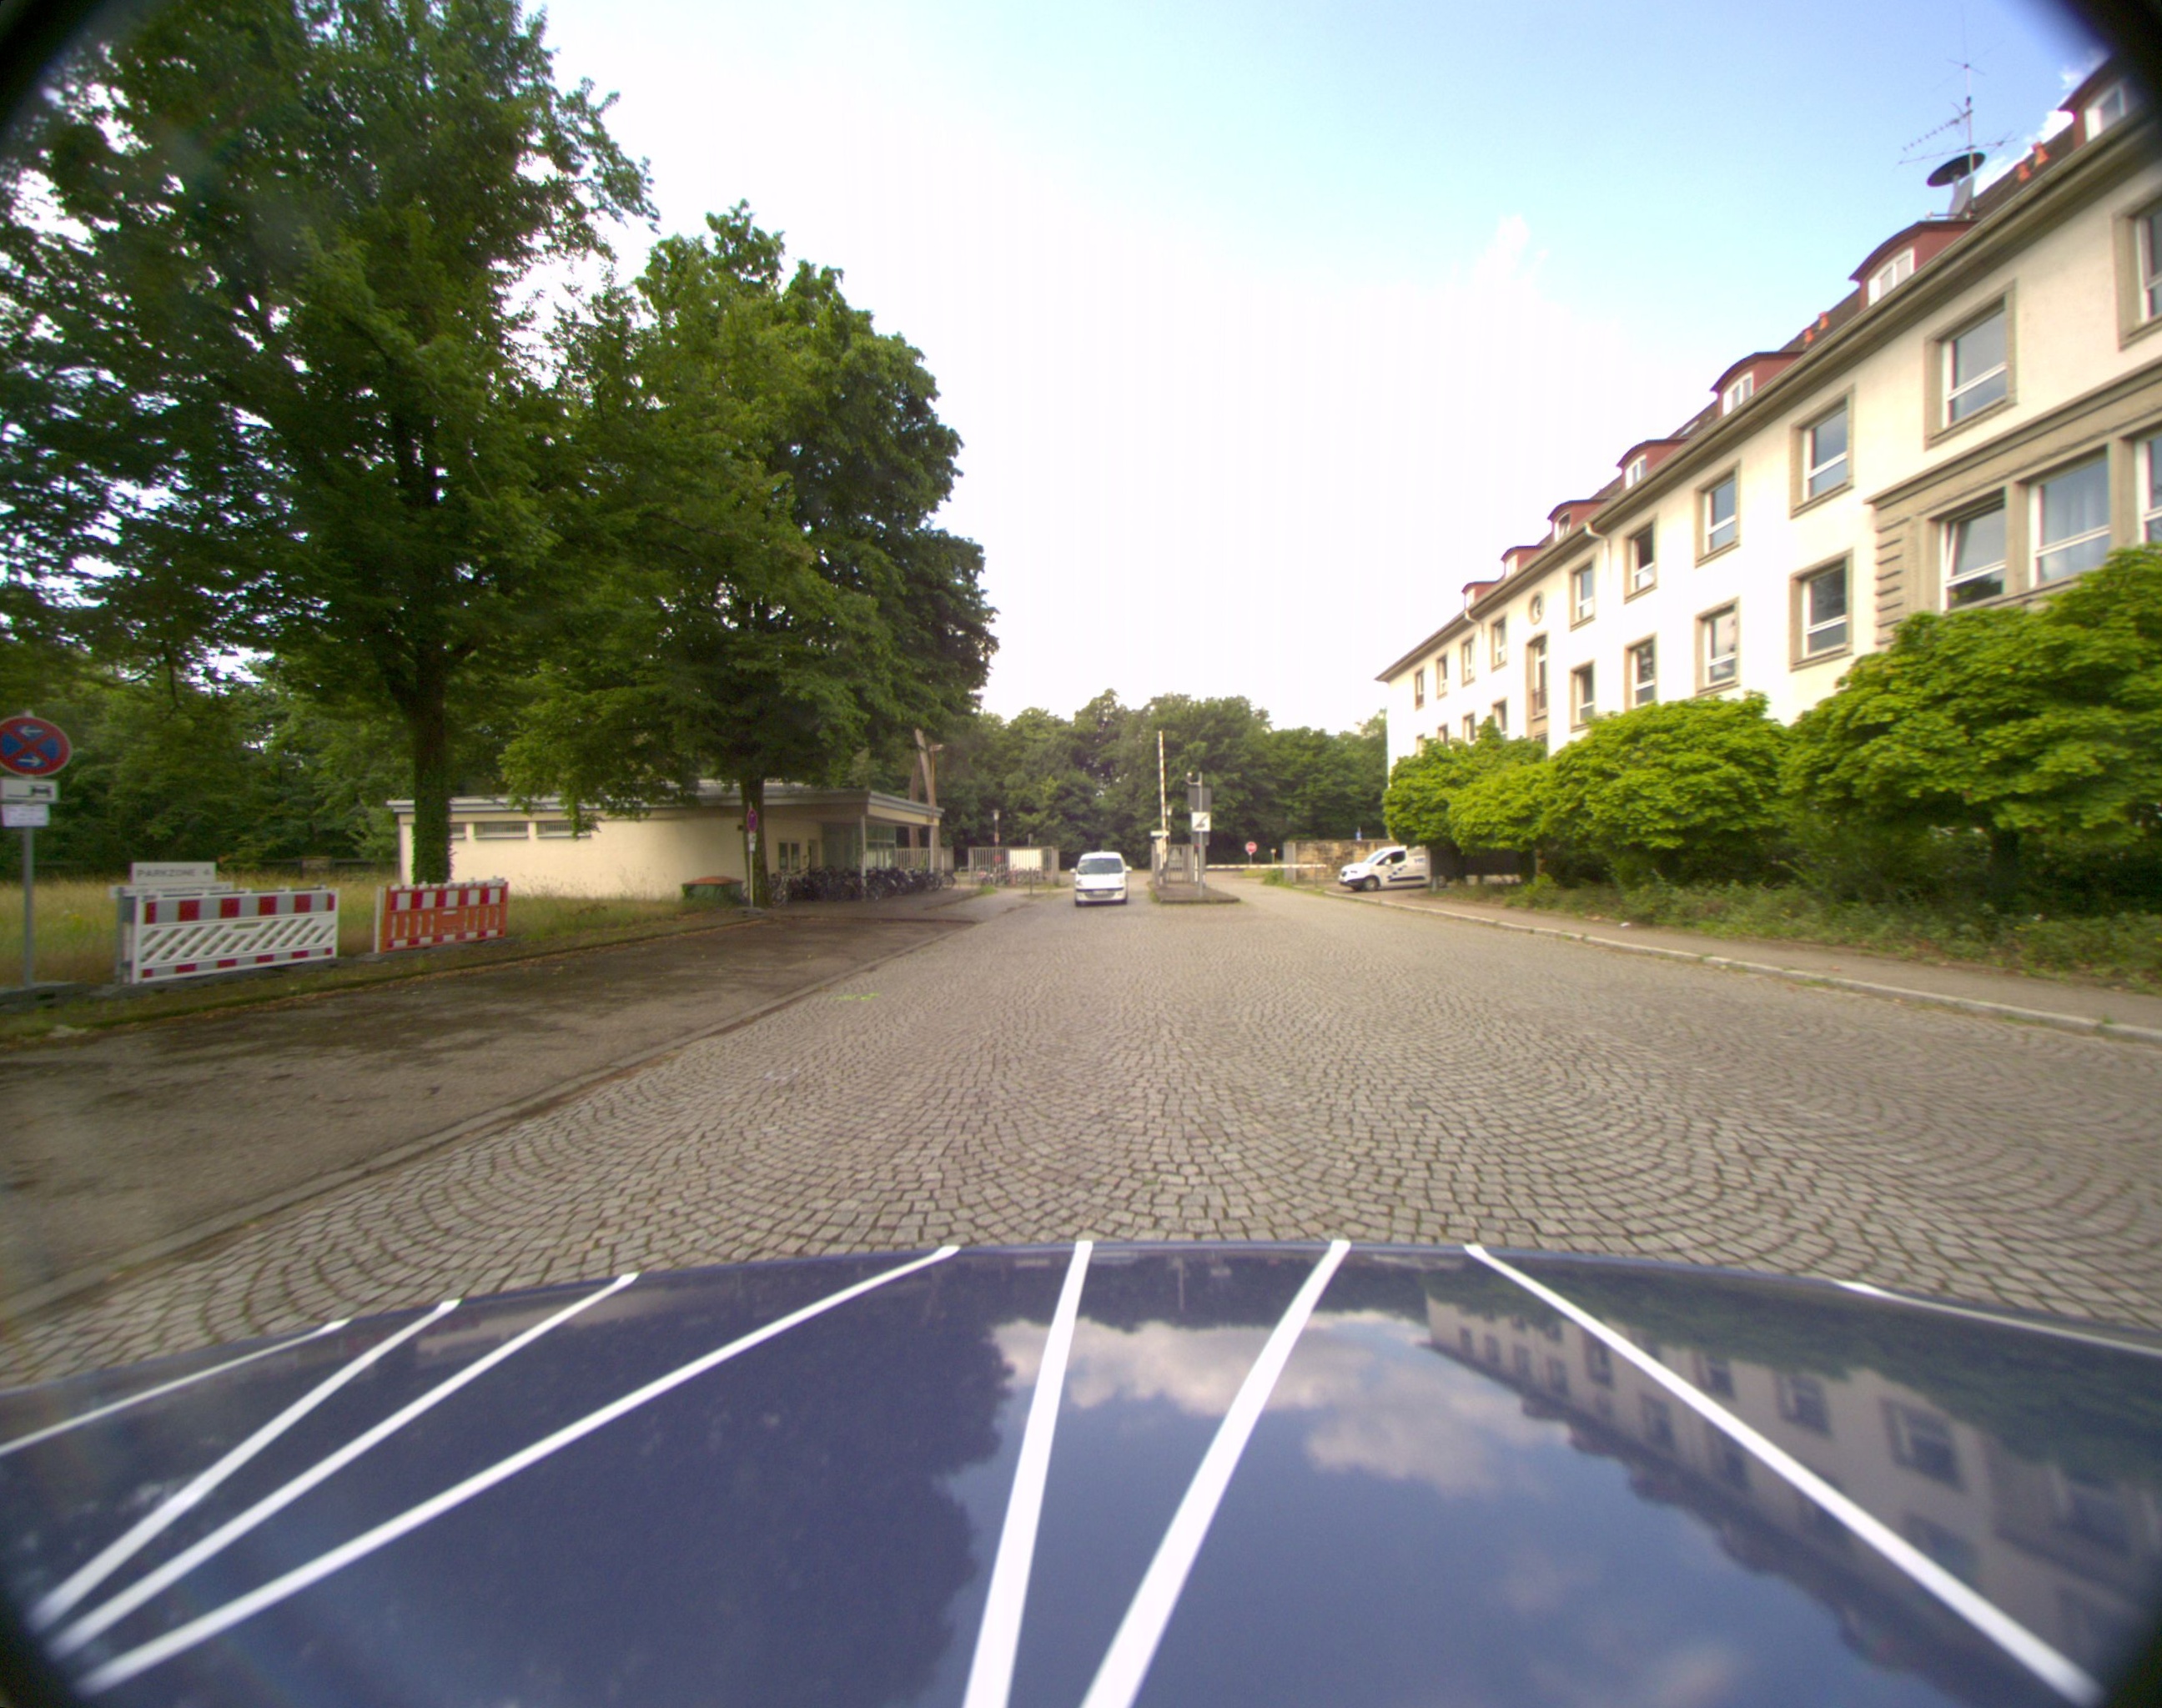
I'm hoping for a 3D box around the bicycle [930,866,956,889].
[{"bbox_3d":[-6.442,1.092,35.374,1.154,1.056,0.286,-1,1,-17],"label":"bicycle"}]

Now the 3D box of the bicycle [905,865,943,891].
[{"bbox_3d":[-6.970,1.065,33.713,1.617,1.134,0.325,1,1,-4],"label":"bicycle"}]

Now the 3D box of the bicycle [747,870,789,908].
[{"bbox_3d":[-9.810,1.087,23.878,0.598,1.110,1.635,1,0,2],"label":"bicycle"}]

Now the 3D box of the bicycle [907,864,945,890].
[{"bbox_3d":[-6.958,1.035,34.192,1.617,1.134,0.356,1,1,-4],"label":"bicycle"}]

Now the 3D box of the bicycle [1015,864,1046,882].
[{"bbox_3d":[-2.911,1.117,43.983,1.729,1.027,0.387,0,1,5],"label":"bicycle"}]

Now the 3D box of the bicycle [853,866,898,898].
[{"bbox_3d":[-7.889,1.078,29.247,1.635,1.183,0.419,1,1,-9],"label":"bicycle"}]

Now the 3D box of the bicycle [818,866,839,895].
[{"bbox_3d":[-9.959,1.043,30.047,0.480,1.069,1.680,1,0,-8],"label":"bicycle"}]

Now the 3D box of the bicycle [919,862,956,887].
[{"bbox_3d":[-6.948,0.980,36.881,1.744,1.125,0.473,-1,1,-40],"label":"bicycle"}]

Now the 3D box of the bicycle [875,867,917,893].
[{"bbox_3d":[-7.606,1.078,31.265,1.635,1.044,0.334,1,1,-11],"label":"bicycle"}]

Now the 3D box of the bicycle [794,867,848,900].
[{"bbox_3d":[-9.538,1.082,27.905,1.745,1.158,0.608,1,0,-1],"label":"bicycle"}]

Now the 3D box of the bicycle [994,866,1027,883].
[{"bbox_3d":[-4.017,1.163,43.333,1.867,0.934,0.503,0,1,-2],"label":"bicycle"}]

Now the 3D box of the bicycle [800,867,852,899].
[{"bbox_3d":[-9.666,1.081,28.833,1.745,1.158,0.608,1,0,-1],"label":"bicycle"}]

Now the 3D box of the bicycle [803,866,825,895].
[{"bbox_3d":[-10.533,1.030,30.012,0.480,1.069,1.680,1,0,-8],"label":"bicycle"}]

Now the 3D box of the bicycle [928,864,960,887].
[{"bbox_3d":[-6.456,1.001,35.806,1.407,1.040,0.338,-1,1,-23],"label":"bicycle"}]

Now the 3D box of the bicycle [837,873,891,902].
[{"bbox_3d":[-7.762,1.182,27.211,1.749,0.970,0.757,1,0,-27],"label":"bicycle"}]

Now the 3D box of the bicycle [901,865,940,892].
[{"bbox_3d":[-7.048,1.070,33.332,1.617,1.134,0.325,1,1,-4],"label":"bicycle"}]

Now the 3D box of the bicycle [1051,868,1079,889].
[{"bbox_3d":[-0.977,1.453,45.944,1.654,1.223,0.749,1,1,-4],"label":"bicycle"}]

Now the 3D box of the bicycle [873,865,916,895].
[{"bbox_3d":[-7.510,1.056,30.644,1.635,1.183,0.498,1,1,-9],"label":"bicycle"}]

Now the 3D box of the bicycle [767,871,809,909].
[{"bbox_3d":[-9.179,1.108,23.871,0.598,1.110,1.635,1,0,2],"label":"bicycle"}]

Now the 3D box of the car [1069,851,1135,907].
[{"bbox_3d":[0.820,0.800,26.851,1.866,1.749,4.151,-3,0,7],"label":"car"}]

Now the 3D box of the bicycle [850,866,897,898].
[{"bbox_3d":[-7.811,1.063,28.636,1.635,1.183,0.473,1,1,-10],"label":"bicycle"}]

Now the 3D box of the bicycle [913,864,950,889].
[{"bbox_3d":[-6.855,1.027,34.844,1.617,1.134,0.356,1,1,-4],"label":"bicycle"}]

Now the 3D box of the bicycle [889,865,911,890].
[{"bbox_3d":[-8.225,1.051,34.581,0.491,1.069,1.832,1,0,2],"label":"bicycle"}]

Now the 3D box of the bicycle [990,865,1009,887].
[{"bbox_3d":[-4.097,1.092,38.491,0.691,1.056,1.565,0,0,4],"label":"bicycle"}]

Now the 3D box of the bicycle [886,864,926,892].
[{"bbox_3d":[-7.393,1.011,32.158,1.596,1.134,0.325,1,1,-4],"label":"bicycle"}]

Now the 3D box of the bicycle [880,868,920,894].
[{"bbox_3d":[-7.556,1.120,31.779,1.596,1.044,0.325,1,1,-4],"label":"bicycle"}]

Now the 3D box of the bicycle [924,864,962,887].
[{"bbox_3d":[-6.618,0.998,36.397,1.753,1.040,0.453,-1,1,-35],"label":"bicycle"}]

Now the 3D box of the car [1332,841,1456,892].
[{"bbox_3d":[12.929,0.514,31.568,4.311,1.796,1.820,-4,1,1],"label":"car"}]

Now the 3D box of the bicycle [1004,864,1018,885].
[{"bbox_3d":[-3.781,1.099,40.947,0.474,1.051,1.733,0,0,4],"label":"bicycle"}]

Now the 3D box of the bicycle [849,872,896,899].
[{"bbox_3d":[-7.679,1.165,28.000,1.637,0.970,0.322,1,1,-27],"label":"bicycle"}]

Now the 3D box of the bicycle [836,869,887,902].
[{"bbox_3d":[-7.591,1.090,26.312,1.682,1.102,0.338,1,1,-10],"label":"bicycle"}]

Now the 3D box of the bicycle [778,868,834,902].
[{"bbox_3d":[-9.733,1.095,26.886,1.745,1.158,0.608,1,0,-1],"label":"bicycle"}]

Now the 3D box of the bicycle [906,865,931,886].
[{"bbox_3d":[-7.924,1.033,37.029,0.404,1.004,1.359,0,0,27],"label":"bicycle"}]

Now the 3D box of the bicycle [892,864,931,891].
[{"bbox_3d":[-7.317,1.004,32.826,1.617,1.134,0.325,1,1,-4],"label":"bicycle"}]

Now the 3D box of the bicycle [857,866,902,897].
[{"bbox_3d":[-7.904,1.075,29.861,1.635,1.183,0.419,1,1,-9],"label":"bicycle"}]
